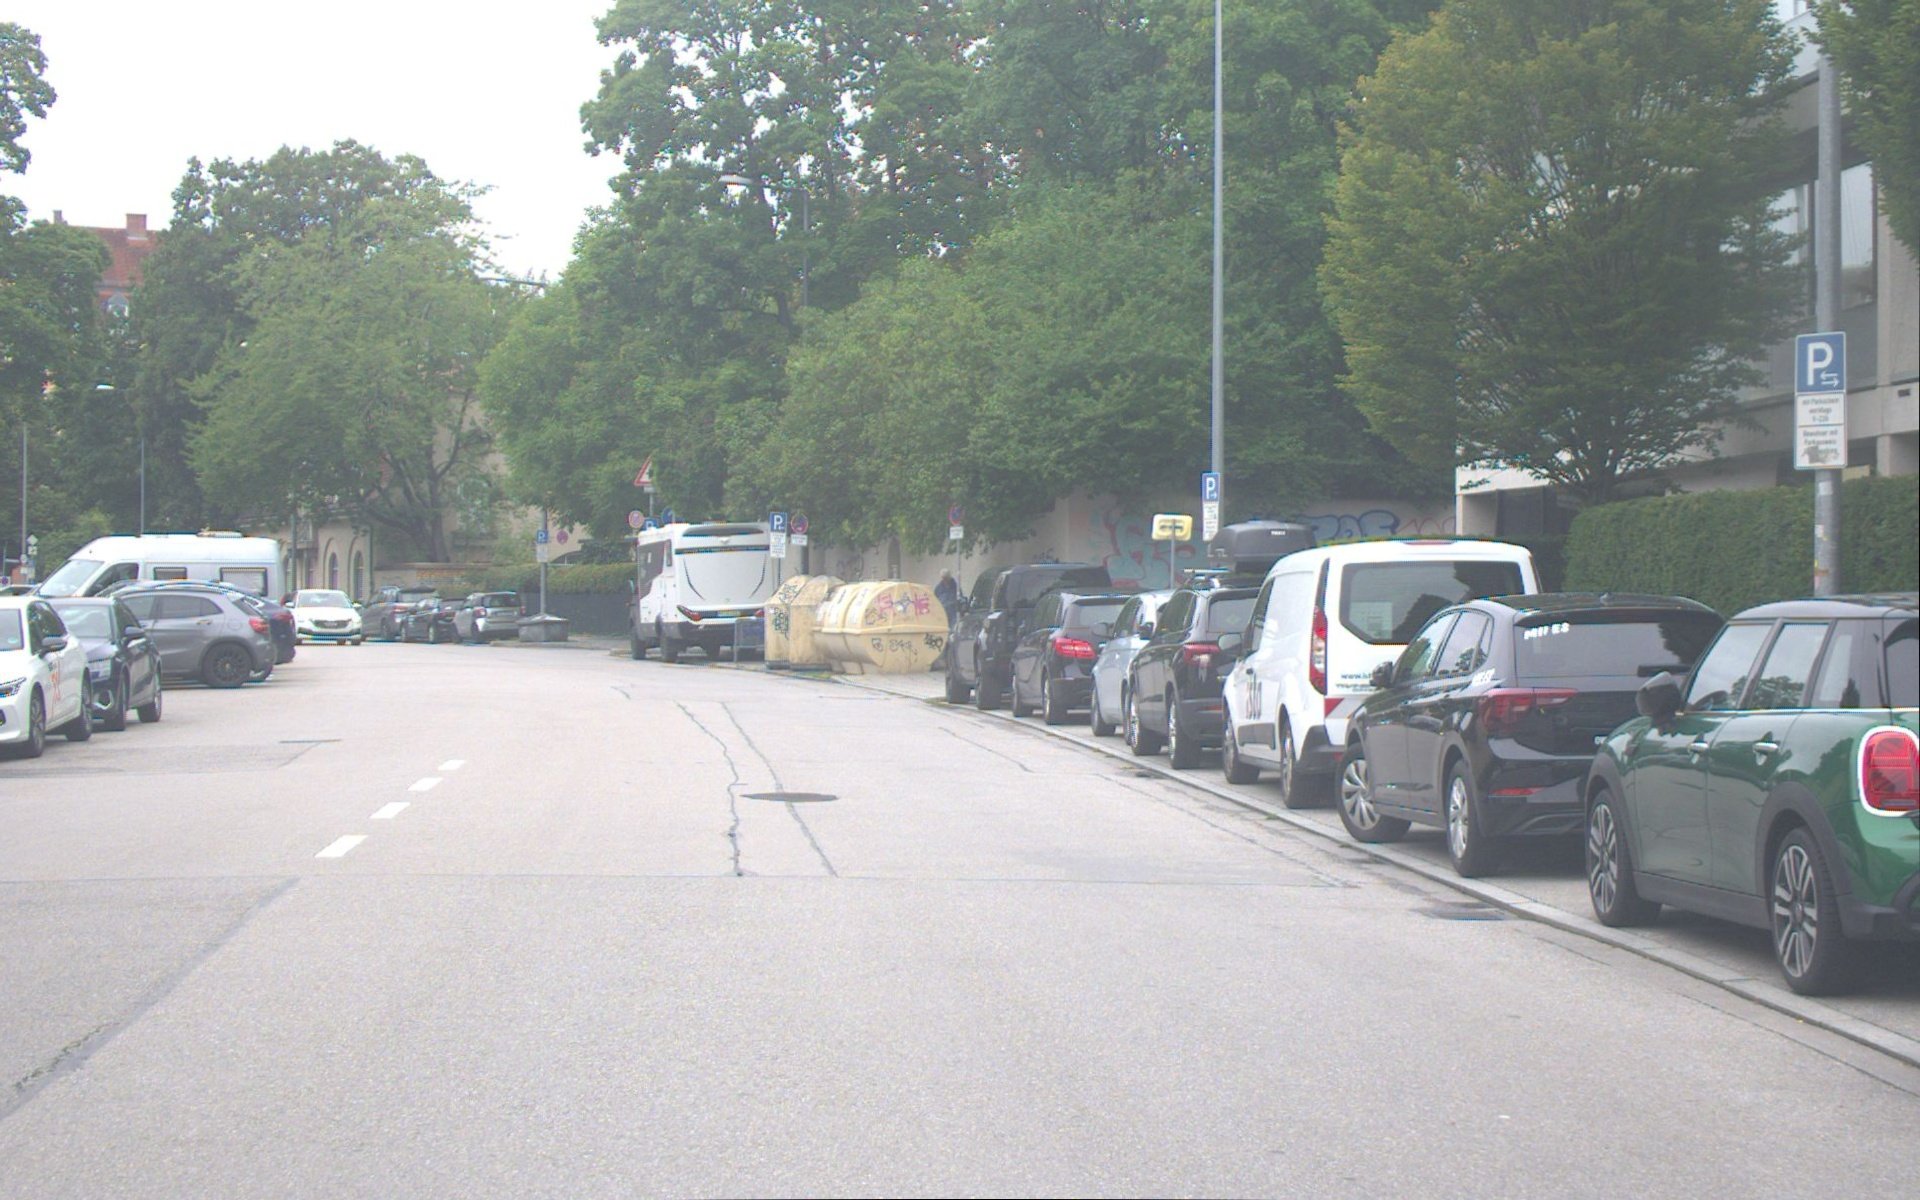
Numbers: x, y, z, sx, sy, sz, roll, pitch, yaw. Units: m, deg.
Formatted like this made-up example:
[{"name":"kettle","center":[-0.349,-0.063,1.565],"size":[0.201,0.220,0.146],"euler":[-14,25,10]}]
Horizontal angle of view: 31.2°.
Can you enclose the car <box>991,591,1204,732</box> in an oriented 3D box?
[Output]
[{"name":"car","center":[1.550,0.677,40.388],"size":[1.747,1.534,4.570],"euler":[1,0,-7]}]

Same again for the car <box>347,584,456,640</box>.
[{"name":"car","center":[-17.823,0.367,109.529],"size":[1.993,1.705,4.885],"euler":[-1,1,-28]}]

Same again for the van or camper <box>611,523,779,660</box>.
[{"name":"van or camper","center":[-5.975,-0.192,76.524],"size":[2.272,2.896,7.278],"euler":[0,0,-16]}]

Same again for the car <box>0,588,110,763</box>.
[{"name":"car","center":[-9.382,0.681,32.526],"size":[1.845,1.530,4.522],"euler":[-2,0,-4]}]

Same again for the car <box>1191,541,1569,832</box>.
[{"name":"car","center":[2.917,0.553,24.954],"size":[1.822,1.854,4.898],"euler":[2,0,-3]}]

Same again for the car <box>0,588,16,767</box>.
[{"name":"car","center":[-9.012,0.682,27.719],"size":[1.845,1.530,4.441],"euler":[-2,0,-4]}]

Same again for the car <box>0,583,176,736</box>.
[{"name":"car","center":[-9.778,0.605,37.430],"size":[1.845,1.530,4.562],"euler":[-2,0,-6]}]

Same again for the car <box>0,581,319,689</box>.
[{"name":"car","center":[-12.673,0.531,54.514],"size":[4.513,1.588,1.965],"euler":[-1,0,-38]}]

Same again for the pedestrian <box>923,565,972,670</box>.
[{"name":"pedestrian","center":[-0.241,0.334,65.652],"size":[0.795,1.978,0.631],"euler":[1,0,-15]}]

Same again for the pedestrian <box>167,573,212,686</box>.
[{"name":"pedestrian","center":[-11.409,0.426,50.907],"size":[0.589,1.642,0.714],"euler":[-2,1,-14]}]

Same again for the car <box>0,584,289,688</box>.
[{"name":"car","center":[-12.413,0.555,51.760],"size":[4.329,1.525,1.934],"euler":[0,-1,-18]}]

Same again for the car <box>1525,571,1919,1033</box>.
[{"name":"car","center":[3.646,0.663,13.757],"size":[1.726,1.524,4.205],"euler":[-1,1,-5]}]

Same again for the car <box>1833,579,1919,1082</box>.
[{"name":"car","center":[3.922,0.691,8.313],"size":[1.876,1.476,5.208],"euler":[-2,1,-5]}]

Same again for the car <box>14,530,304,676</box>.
[{"name":"car","center":[-14.532,0.014,62.488],"size":[4.623,2.554,2.234],"euler":[-1,1,-38]}]

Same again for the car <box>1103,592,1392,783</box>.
[{"name":"car","center":[2.423,0.707,30.086],"size":[1.747,1.475,4.598],"euler":[1,0,-5]}]

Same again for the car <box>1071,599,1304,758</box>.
[{"name":"car","center":[2.234,0.751,34.701],"size":[1.747,1.475,3.889],"euler":[0,0,-5]}]

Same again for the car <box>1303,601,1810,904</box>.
[{"name":"car","center":[3.160,0.750,19.078],"size":[1.747,1.459,4.243],"euler":[0,0,-5]}]

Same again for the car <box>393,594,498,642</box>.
[{"name":"car","center":[-15.782,0.534,105.356],"size":[1.877,1.422,4.222],"euler":[-1,1,-28]}]

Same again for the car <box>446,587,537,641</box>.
[{"name":"car","center":[-13.864,0.428,101.681],"size":[1.739,1.531,2.946],"euler":[-1,0,-28]}]

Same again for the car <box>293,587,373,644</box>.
[{"name":"car","center":[-16.487,0.397,90.541],"size":[1.772,1.470,4.134],"euler":[1,0,-7]}]

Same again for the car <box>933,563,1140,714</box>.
[{"name":"car","center":[0.950,0.512,45.727],"size":[1.987,1.865,5.079],"euler":[1,-1,-7]}]
